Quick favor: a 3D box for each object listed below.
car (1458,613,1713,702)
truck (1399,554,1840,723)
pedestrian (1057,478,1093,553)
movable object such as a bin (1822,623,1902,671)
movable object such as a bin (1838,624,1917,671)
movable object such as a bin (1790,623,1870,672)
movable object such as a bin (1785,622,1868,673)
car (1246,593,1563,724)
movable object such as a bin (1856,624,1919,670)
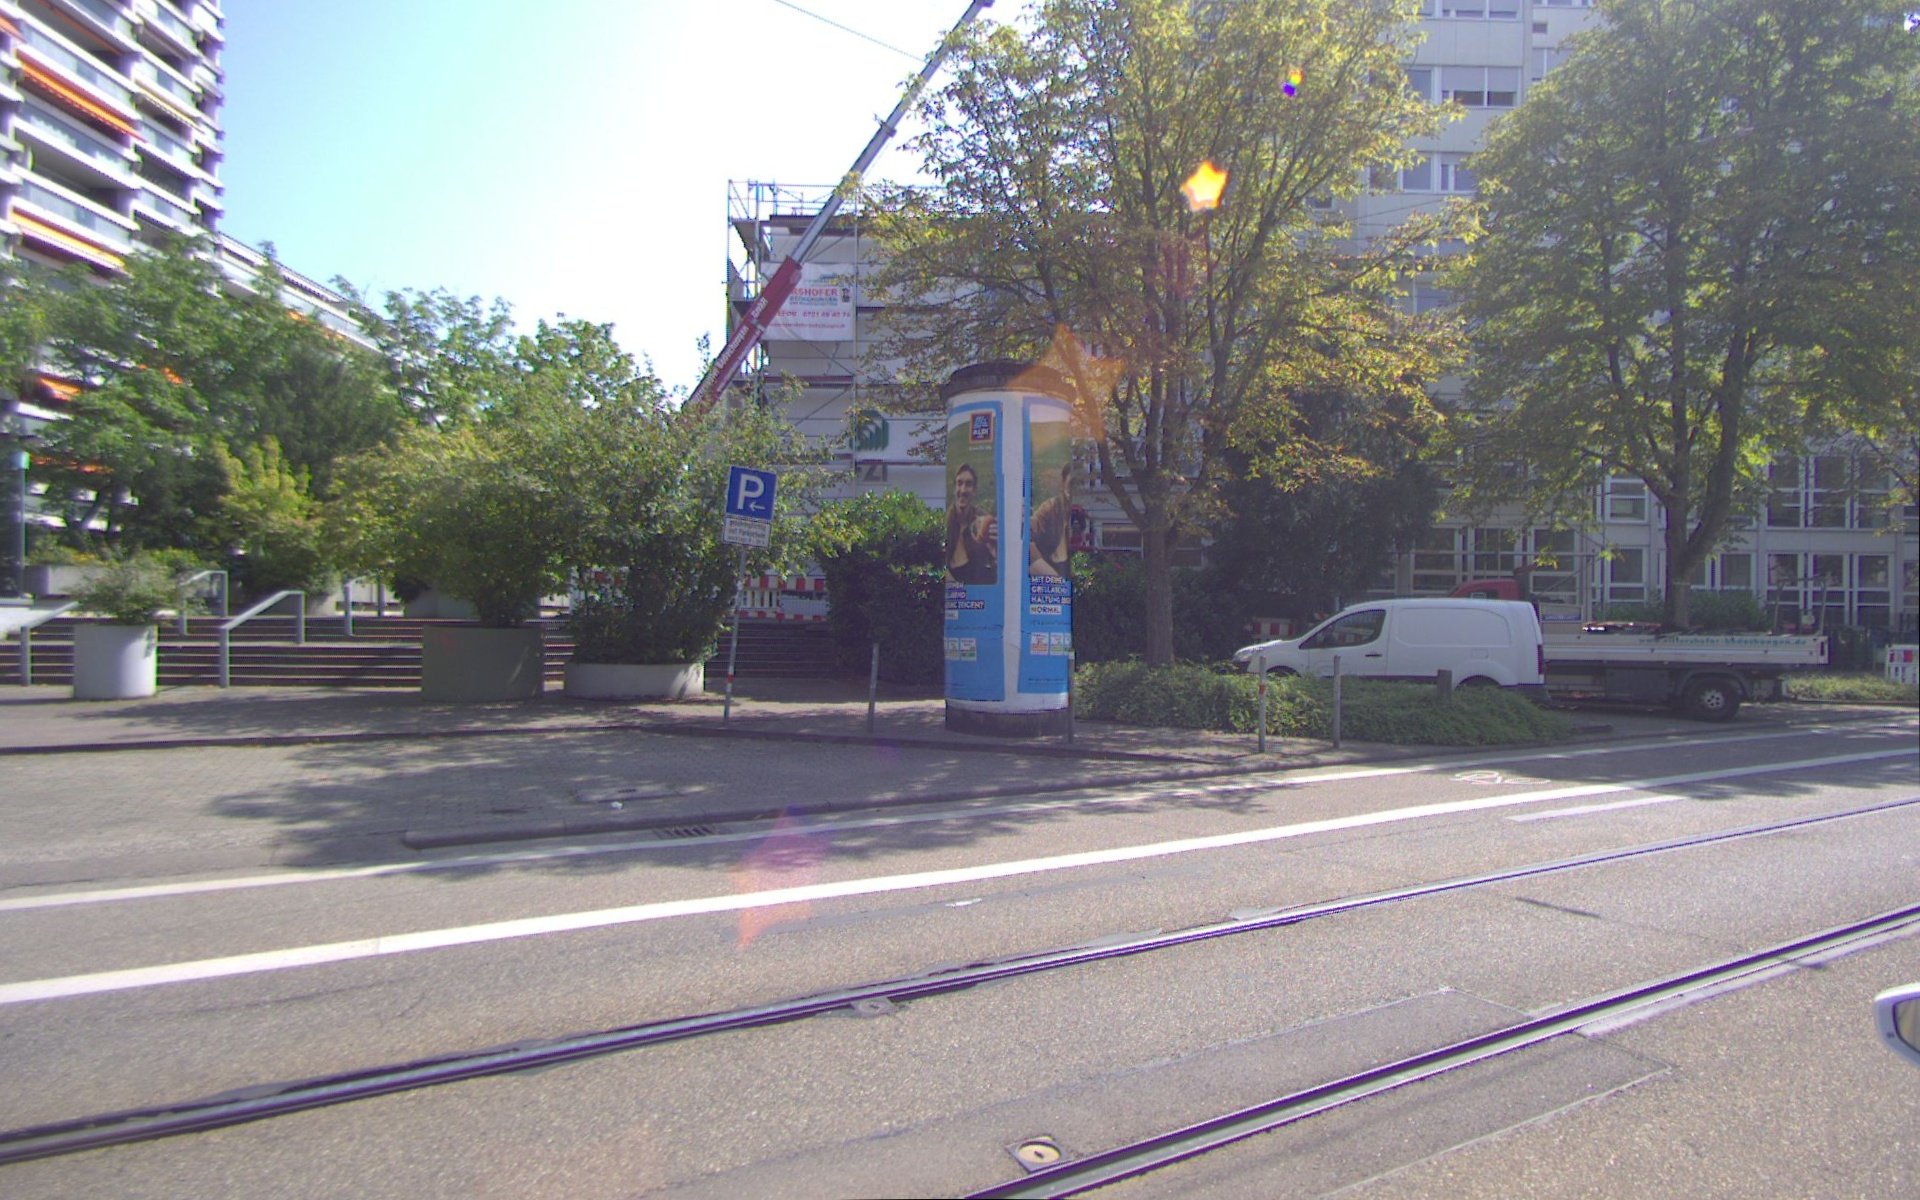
[{"bbox_3d":[11.639,1.043,18.984,3.784,1.528,1.721,0,-2,19],"label":"car"},{"bbox_3d":[10.531,0.586,16.765,5.855,2.467,2.150,0,-1,24],"label":"truck"},{"bbox_3d":[2.816,-2.054,24.632,0.834,1.749,0.752,1,0,5],"label":"pedestrian"},{"bbox_3d":[30.506,1.581,33.996,1.337,1.580,1.676,1,-1,-29],"label":"movable object such as a bin"},{"bbox_3d":[31.806,1.613,34.831,1.337,1.580,1.676,1,-1,-29],"label":"movable object such as a bin"},{"bbox_3d":[28.956,1.551,33.456,1.337,1.580,1.676,1,-1,-29],"label":"movable object such as a bin"},{"bbox_3d":[27.913,1.509,32.383,1.337,1.580,1.676,1,-1,-29],"label":"movable object such as a bin"},{"bbox_3d":[6.608,0.822,15.365,4.201,1.795,1.825,0,-1,20],"label":"car"},{"bbox_3d":[33.070,1.638,35.557,1.337,1.580,1.676,1,-1,-29],"label":"movable object such as a bin"}]
